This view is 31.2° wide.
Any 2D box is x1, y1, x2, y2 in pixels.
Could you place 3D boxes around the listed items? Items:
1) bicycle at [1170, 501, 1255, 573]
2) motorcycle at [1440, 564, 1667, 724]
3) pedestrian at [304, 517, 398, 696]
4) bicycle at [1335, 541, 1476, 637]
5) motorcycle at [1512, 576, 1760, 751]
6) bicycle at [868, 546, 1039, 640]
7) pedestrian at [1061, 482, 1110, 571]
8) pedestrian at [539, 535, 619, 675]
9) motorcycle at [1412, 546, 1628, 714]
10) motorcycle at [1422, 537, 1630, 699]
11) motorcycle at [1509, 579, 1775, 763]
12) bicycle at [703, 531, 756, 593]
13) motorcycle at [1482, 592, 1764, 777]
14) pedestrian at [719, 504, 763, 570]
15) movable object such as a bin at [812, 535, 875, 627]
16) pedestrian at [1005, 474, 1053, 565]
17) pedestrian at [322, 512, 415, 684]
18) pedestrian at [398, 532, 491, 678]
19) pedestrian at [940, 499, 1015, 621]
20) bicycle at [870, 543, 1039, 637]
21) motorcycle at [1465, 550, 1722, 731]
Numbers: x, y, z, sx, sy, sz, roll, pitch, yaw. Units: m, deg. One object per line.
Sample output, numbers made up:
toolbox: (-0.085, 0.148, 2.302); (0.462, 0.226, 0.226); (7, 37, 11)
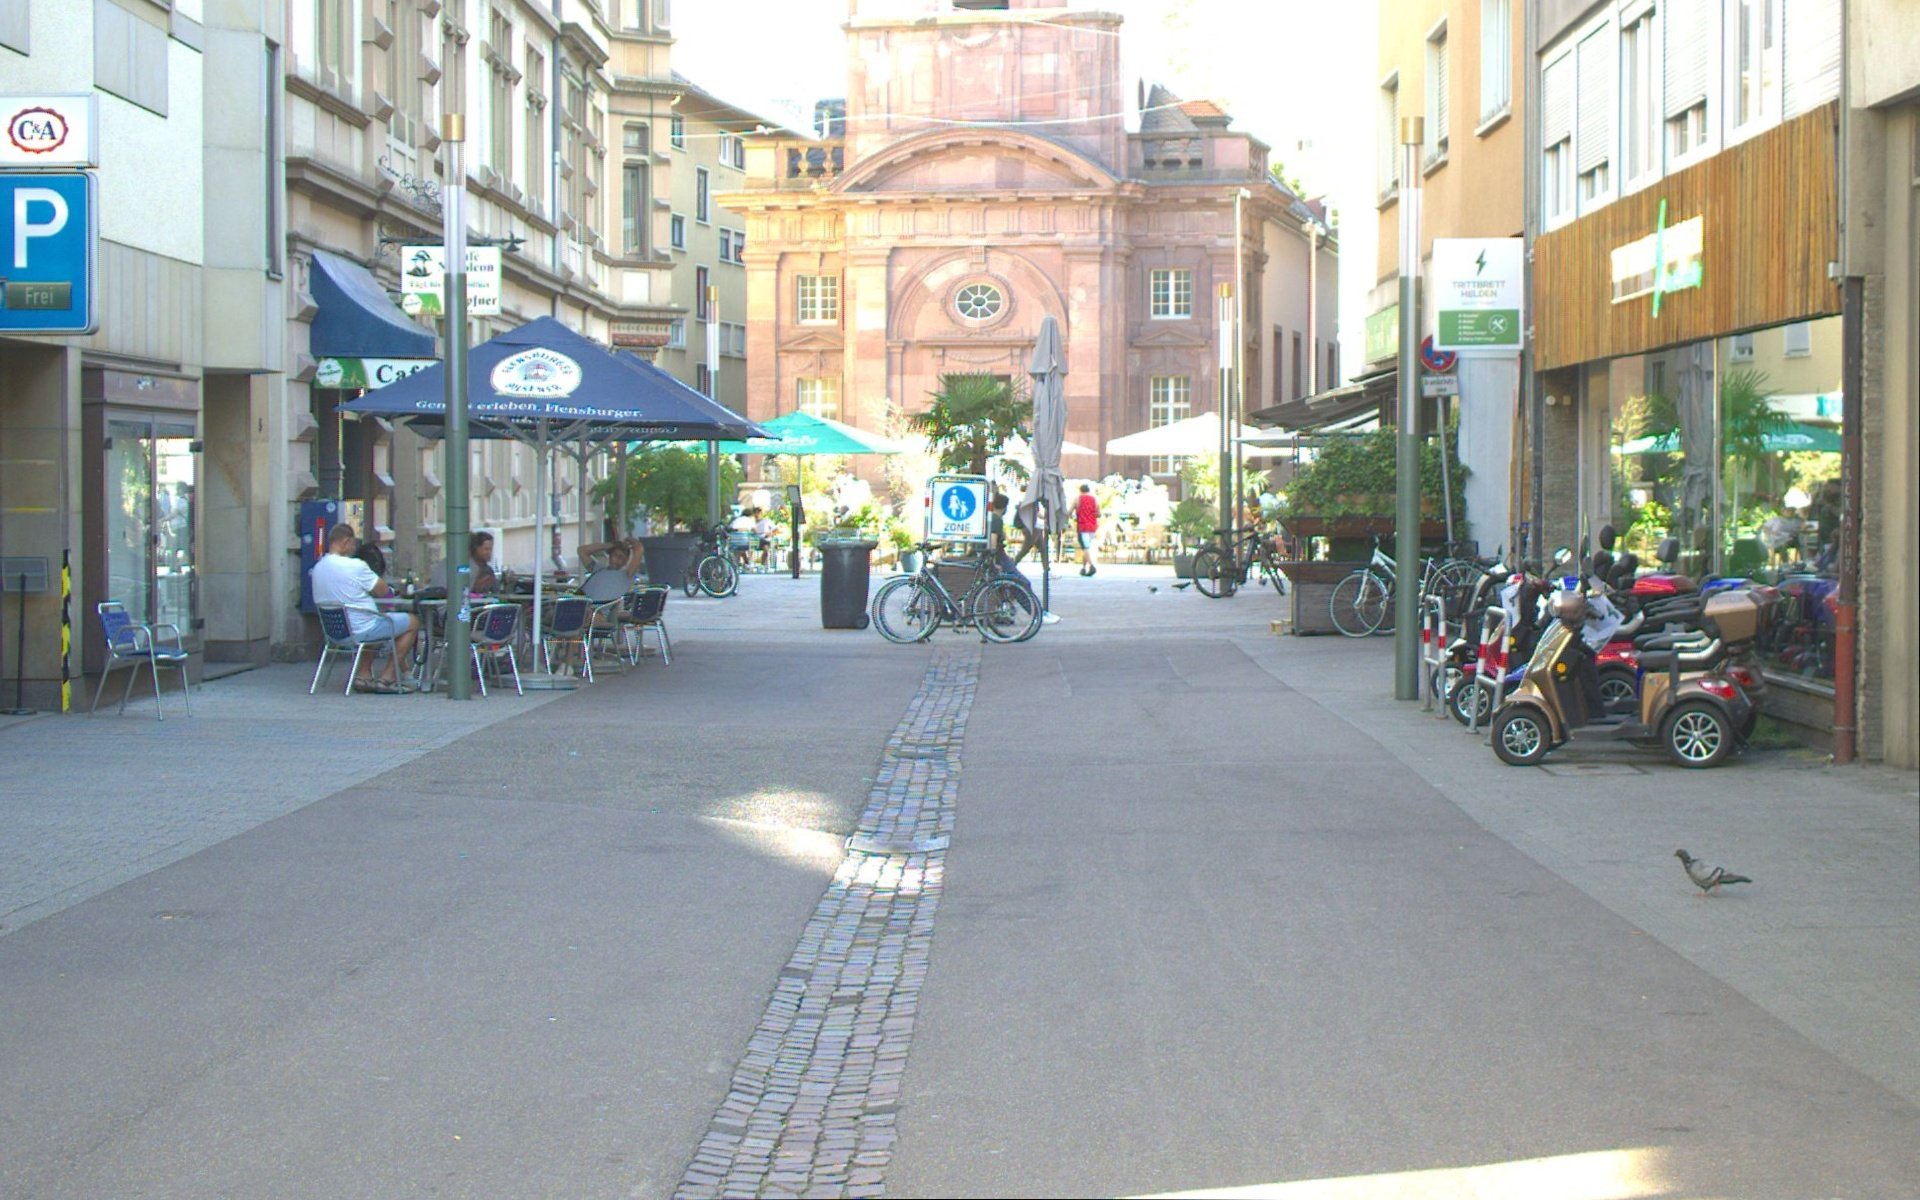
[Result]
bicycle: (4.609, -1.157, 62.620); (1.586, 1.303, 0.366); (-1, 2, -28)
motorcycle: (4.078, 0.291, 23.634); (1.485, 1.072, 0.412); (0, 1, 19)
pedestrian: (-4.738, 0.039, 26.730); (0.708, 1.363, 0.720); (0, 2, -11)
bicycle: (4.734, -0.124, 36.545); (1.464, 1.001, 0.573); (0, 2, 8)
motorcycle: (4.250, 0.389, 21.621); (1.485, 1.072, 0.412); (0, 1, 19)
bicycle: (-0.073, -0.078, 36.977); (1.823, 1.001, 0.381); (0, 2, -2)
pedestrian: (2.331, -1.360, 63.678); (0.657, 1.635, 0.611); (2, 2, 44)
pedestrian: (-3.352, 0.038, 30.235); (0.692, 1.211, 0.583); (0, 2, -7)
motorcycle: (3.994, 0.209, 24.523); (1.485, 1.177, 0.412); (0, 1, 16)
motorcycle: (4.214, 0.128, 25.582); (1.485, 1.177, 0.412); (0, 1, 16)
motorcycle: (4.090, 0.413, 20.625); (1.518, 1.072, 0.412); (0, 1, 19)
bicycle: (-3.302, -0.561, 49.366); (0.456, 0.847, 2.146); (0, 2, 4)
motorcycle: (3.839, 0.478, 19.920); (1.565, 1.038, 0.372); (0, 1, 19)
pedestrian: (-4.048, -1.172, 63.527); (0.700, 1.213, 0.719); (0, 2, 7)
movable object such as a bin: (-1.360, -0.223, 40.284); (0.721, 1.071, 0.374); (0, 2, 0)
pedestrian: (1.175, -1.377, 58.587); (0.784, 1.550, 0.535); (0, 2, 6)
pedestrian: (-4.786, -0.028, 27.789); (0.717, 1.363, 0.710); (0, 2, -11)
pedestrian: (-4.426, 0.031, 29.542); (0.765, 1.229, 0.831); (0, 2, -7)
pedestrian: (0.216, -0.489, 41.497); (0.884, 1.459, 0.731); (0, 2, 2)
bicycle: (-0.065, -0.111, 37.387); (1.823, 1.001, 0.381); (0, 2, -2)
motorcycle: (4.214, 0.256, 22.858); (1.626, 1.171, 0.480); (0, 1, 19)
